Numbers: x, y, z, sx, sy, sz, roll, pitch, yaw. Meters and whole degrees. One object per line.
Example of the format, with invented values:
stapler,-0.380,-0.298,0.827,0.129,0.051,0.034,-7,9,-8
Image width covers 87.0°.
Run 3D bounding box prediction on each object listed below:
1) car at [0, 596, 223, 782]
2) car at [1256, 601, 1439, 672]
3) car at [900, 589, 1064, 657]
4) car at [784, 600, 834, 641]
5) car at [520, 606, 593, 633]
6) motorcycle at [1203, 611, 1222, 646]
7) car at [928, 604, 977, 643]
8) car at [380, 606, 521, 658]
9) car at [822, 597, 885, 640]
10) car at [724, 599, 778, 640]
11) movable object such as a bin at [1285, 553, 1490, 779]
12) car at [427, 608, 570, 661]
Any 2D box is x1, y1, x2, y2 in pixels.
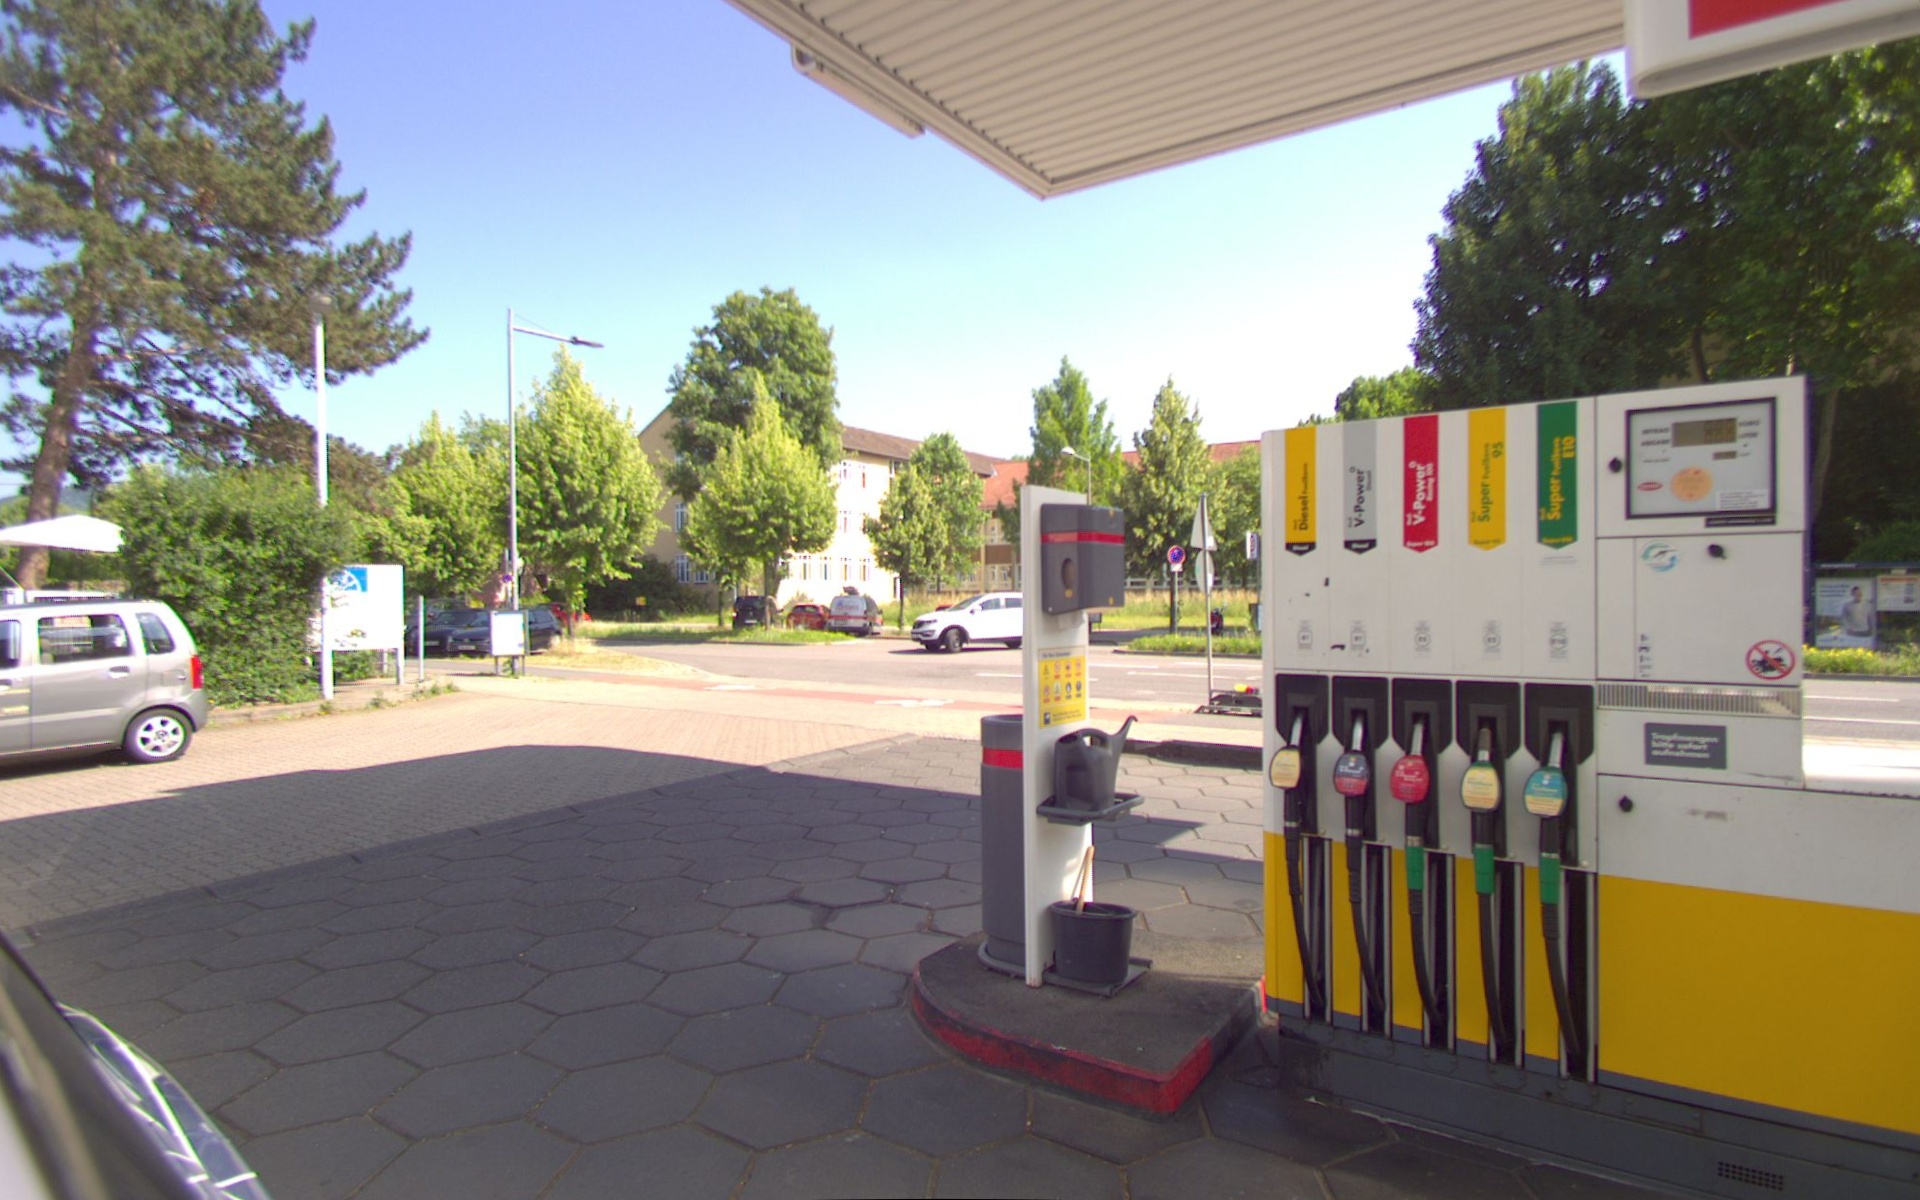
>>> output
car,-9.382,0.832,9.511,1.689,1.629,3.617,-1,1,37
car,10.458,0.929,27.370,4.375,1.782,1.979,-1,0,31
car,0.631,0.642,29.506,4.315,1.782,2.006,-1,0,-19
car,-6.682,0.921,45.144,1.853,1.735,4.229,1,-2,-4
car,-22.295,1.085,56.078,1.865,1.401,3.706,1,-2,17
motorcycle,8.493,0.937,34.059,0.551,1.122,1.752,0,0,11
car,-0.318,0.940,40.983,1.855,1.471,4.226,1,-1,-1
car,-15.798,0.980,31.622,1.860,1.493,4.215,0,-1,8
car,-4.523,0.788,43.537,1.858,1.735,4.218,1,-1,6
car,-9.450,0.895,46.082,1.853,1.735,4.229,1,-2,-4
movable object such as a bin,3.627,0.522,8.542,1.335,1.701,1.326,0,-2,36
car,-13.478,1.012,29.868,1.860,1.428,4.215,0,-2,8
